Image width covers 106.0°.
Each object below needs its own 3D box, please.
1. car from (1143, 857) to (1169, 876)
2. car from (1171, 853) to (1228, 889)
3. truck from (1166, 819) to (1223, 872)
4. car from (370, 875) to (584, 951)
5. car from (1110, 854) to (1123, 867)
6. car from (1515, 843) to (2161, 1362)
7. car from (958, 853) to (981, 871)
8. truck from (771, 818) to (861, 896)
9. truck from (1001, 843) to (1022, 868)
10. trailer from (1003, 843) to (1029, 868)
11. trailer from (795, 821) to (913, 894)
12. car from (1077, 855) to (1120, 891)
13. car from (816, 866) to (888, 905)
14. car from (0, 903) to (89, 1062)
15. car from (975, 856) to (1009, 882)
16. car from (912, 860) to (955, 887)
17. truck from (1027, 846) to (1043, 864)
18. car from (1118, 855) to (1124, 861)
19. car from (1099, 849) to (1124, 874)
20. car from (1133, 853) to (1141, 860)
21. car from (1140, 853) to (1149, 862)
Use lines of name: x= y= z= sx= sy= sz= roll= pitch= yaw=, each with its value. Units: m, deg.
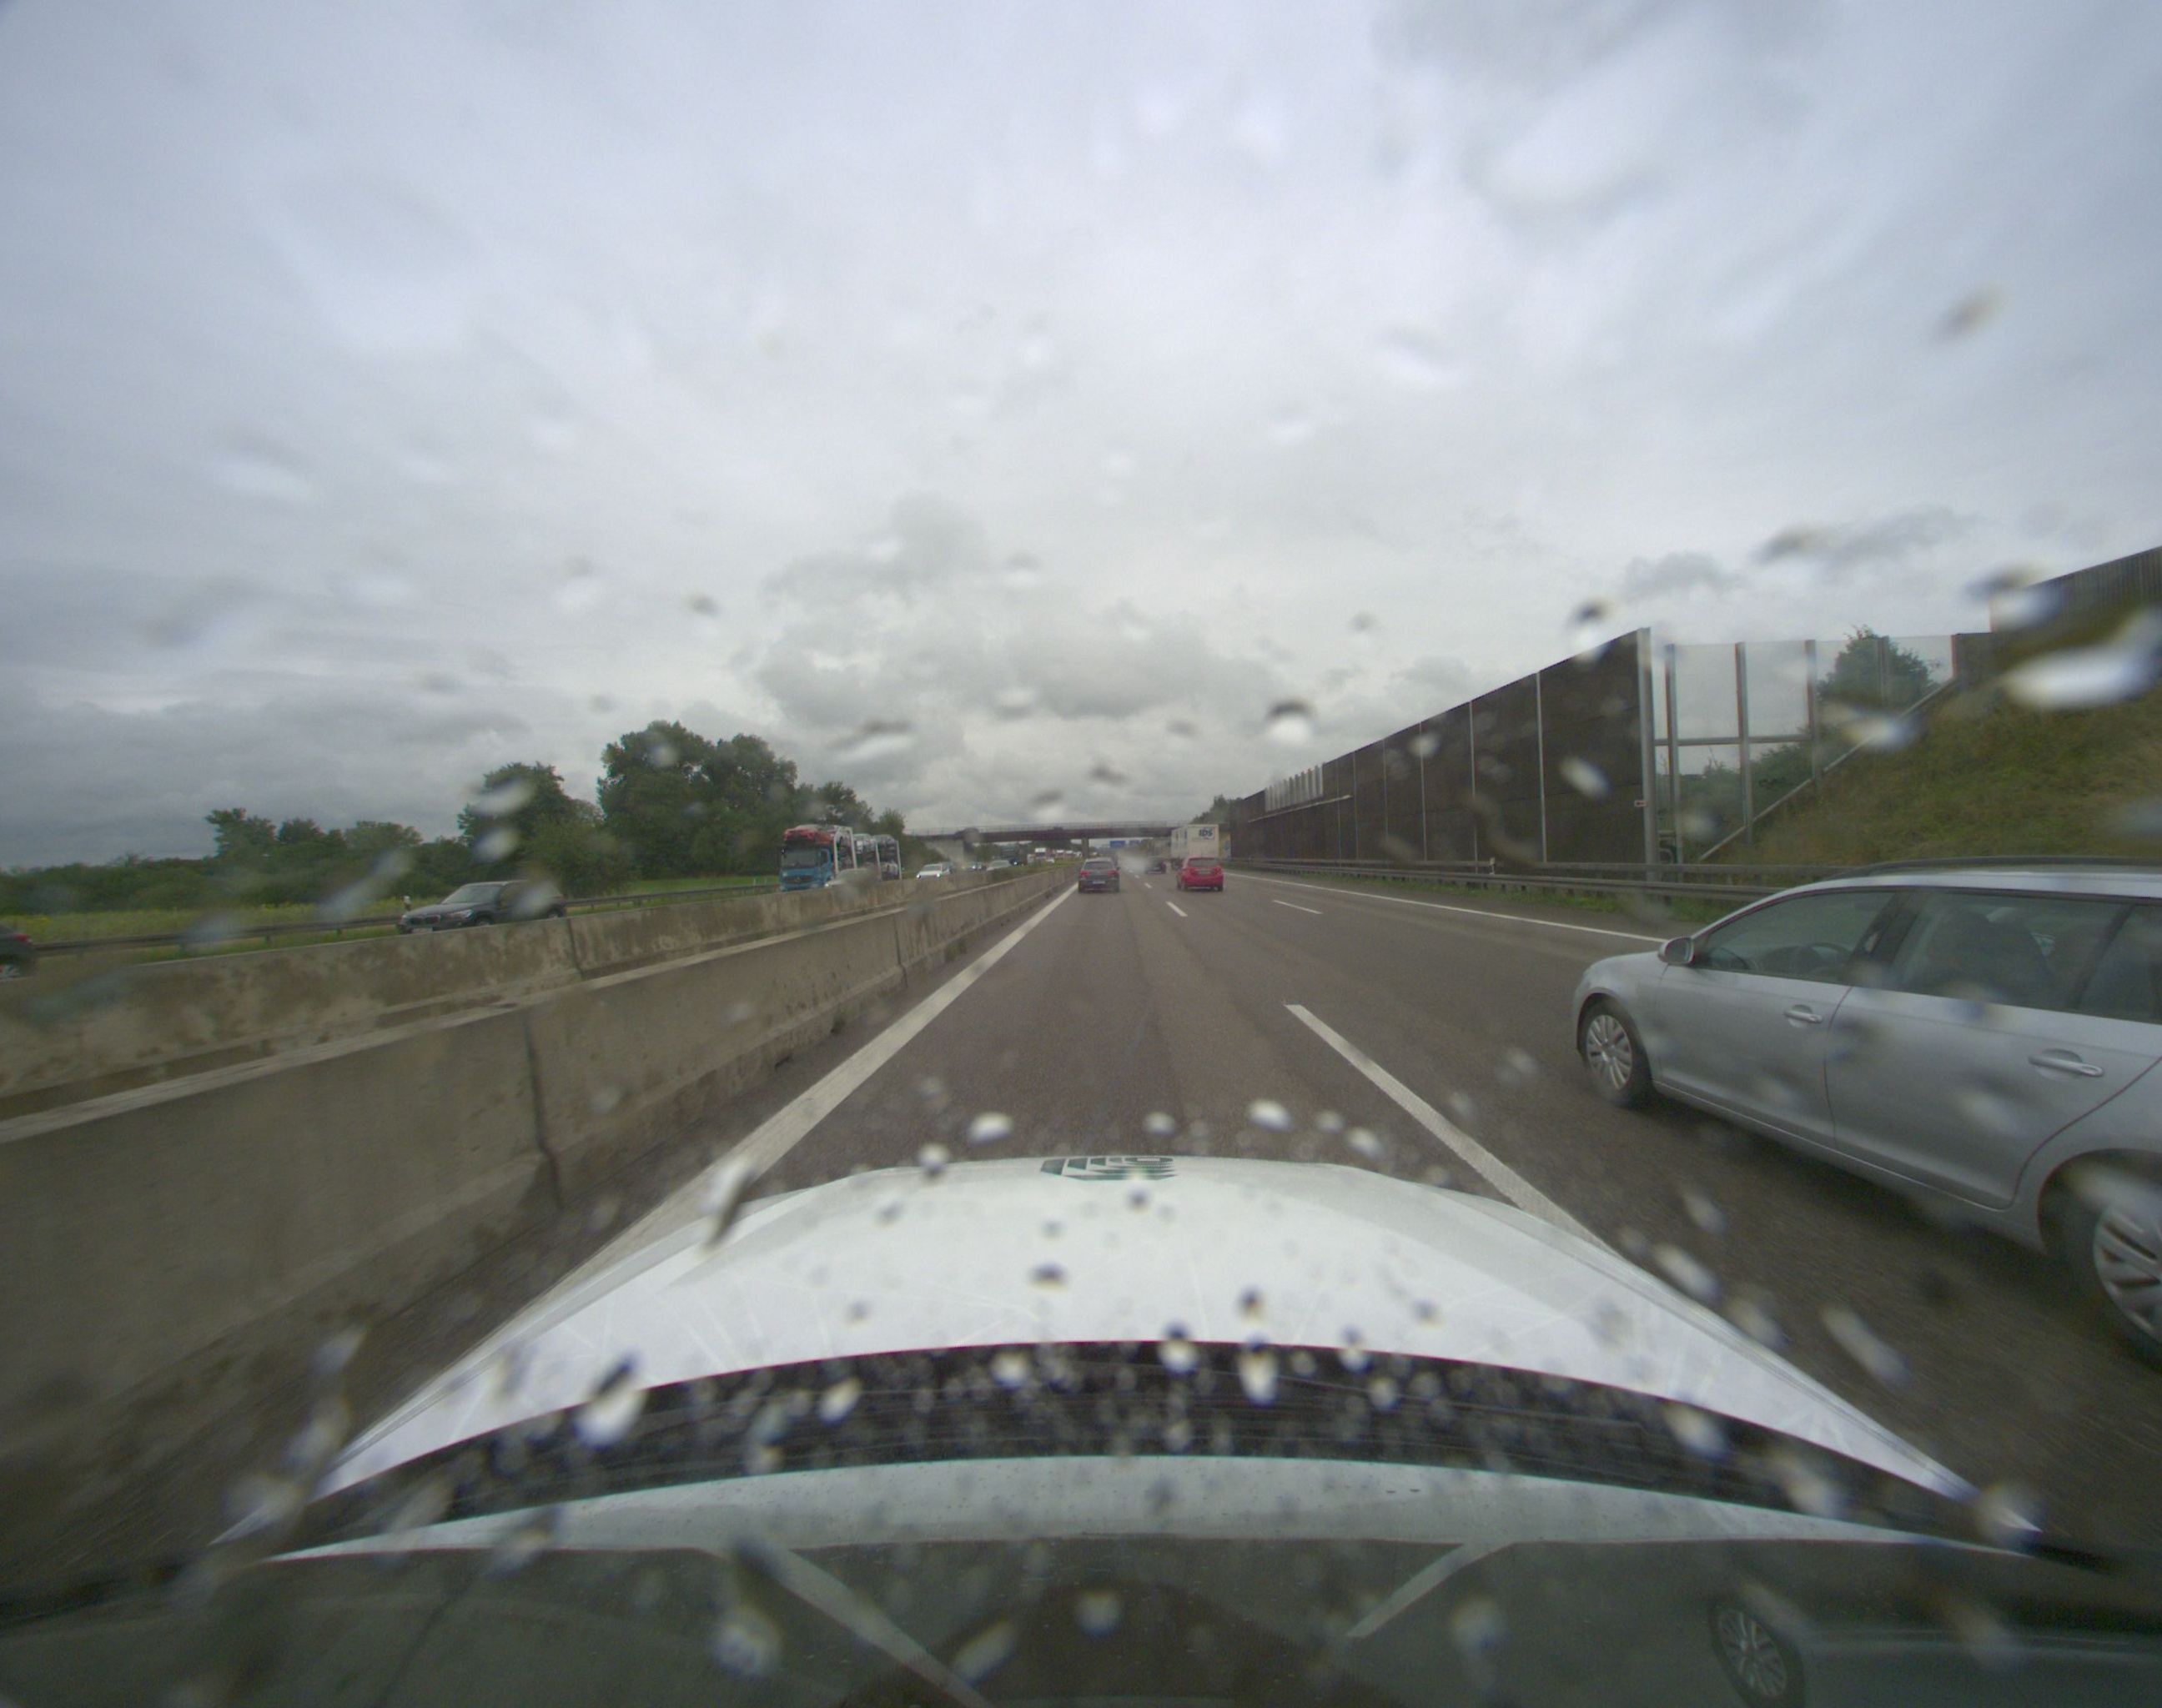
car: x=6.277 y=1.024 z=68.717 sx=1.914 sy=1.522 sz=4.624 roll=-1 pitch=0 yaw=2
car: x=5.129 y=0.692 z=35.707 sx=1.884 sy=1.446 sz=4.686 roll=-1 pitch=0 yaw=1
truck: x=10.295 y=-0.609 z=76.068 sx=3.271 sy=4.295 sz=19.040 roll=0 pitch=-1 yaw=2
car: x=-16.305 y=1.503 z=22.407 sx=2.085 sy=1.710 sz=4.804 roll=-1 pitch=0 yaw=3
car: x=5.378 y=1.008 z=123.268 sx=1.699 sy=1.796 sz=3.855 roll=-3 pitch=0 yaw=0
car: x=3.916 y=0.689 z=3.545 sx=1.735 sy=1.425 sz=4.519 roll=-2 pitch=0 yaw=2
car: x=-13.514 y=0.947 z=98.548 sx=1.986 sy=2.013 sz=4.002 roll=-3 pitch=0 yaw=2
truck: x=-15.206 y=0.205 z=47.272 sx=2.946 sy=4.242 sz=6.237 roll=0 pitch=-1 yaw=2
truck: x=-11.355 y=0.227 z=134.003 sx=2.747 sy=4.050 sz=6.258 roll=0 pitch=-1 yaw=2
trailer: x=-11.067 y=0.293 z=140.824 sx=2.746 sy=4.050 sz=14.526 roll=0 pitch=-1 yaw=2
trailer: x=-14.870 y=0.282 z=55.475 sx=2.987 sy=4.242 sz=15.716 roll=0 pitch=-1 yaw=2
car: x=0.779 y=0.805 z=35.194 sx=1.762 sy=1.467 sz=4.001 roll=0 pitch=-1 yaw=2
car: x=-11.545 y=1.552 z=41.429 sx=2.086 sy=1.710 sz=5.166 roll=-1 pitch=0 yaw=1
car: x=-13.051 y=1.469 z=7.419 sx=2.053 sy=1.710 sz=4.802 roll=-1 pitch=0 yaw=2
car: x=-6.652 y=1.115 z=61.434 sx=1.920 sy=1.879 sz=4.592 roll=0 pitch=-1 yaw=2
car: x=-10.599 y=1.398 z=58.876 sx=1.986 sy=1.879 sz=5.034 roll=0 pitch=-1 yaw=2
truck: x=-10.833 y=0.211 z=191.959 sx=3.260 sy=4.045 sz=5.295 roll=0 pitch=-1 yaw=2
car: x=12.314 y=1.277 z=251.341 sx=1.986 sy=2.014 sz=4.244 roll=0 pitch=-1 yaw=2
car: x=2.404 y=0.579 z=63.832 sx=1.819 sy=1.850 sz=4.002 roll=-2 pitch=0 yaw=2
car: x=15.388 y=0.718 z=223.393 sx=1.986 sy=1.812 sz=4.230 roll=-3 pitch=0 yaw=2
car: x=13.219 y=0.757 z=169.837 sx=1.839 sy=1.687 sz=4.001 roll=0 pitch=-1 yaw=1
